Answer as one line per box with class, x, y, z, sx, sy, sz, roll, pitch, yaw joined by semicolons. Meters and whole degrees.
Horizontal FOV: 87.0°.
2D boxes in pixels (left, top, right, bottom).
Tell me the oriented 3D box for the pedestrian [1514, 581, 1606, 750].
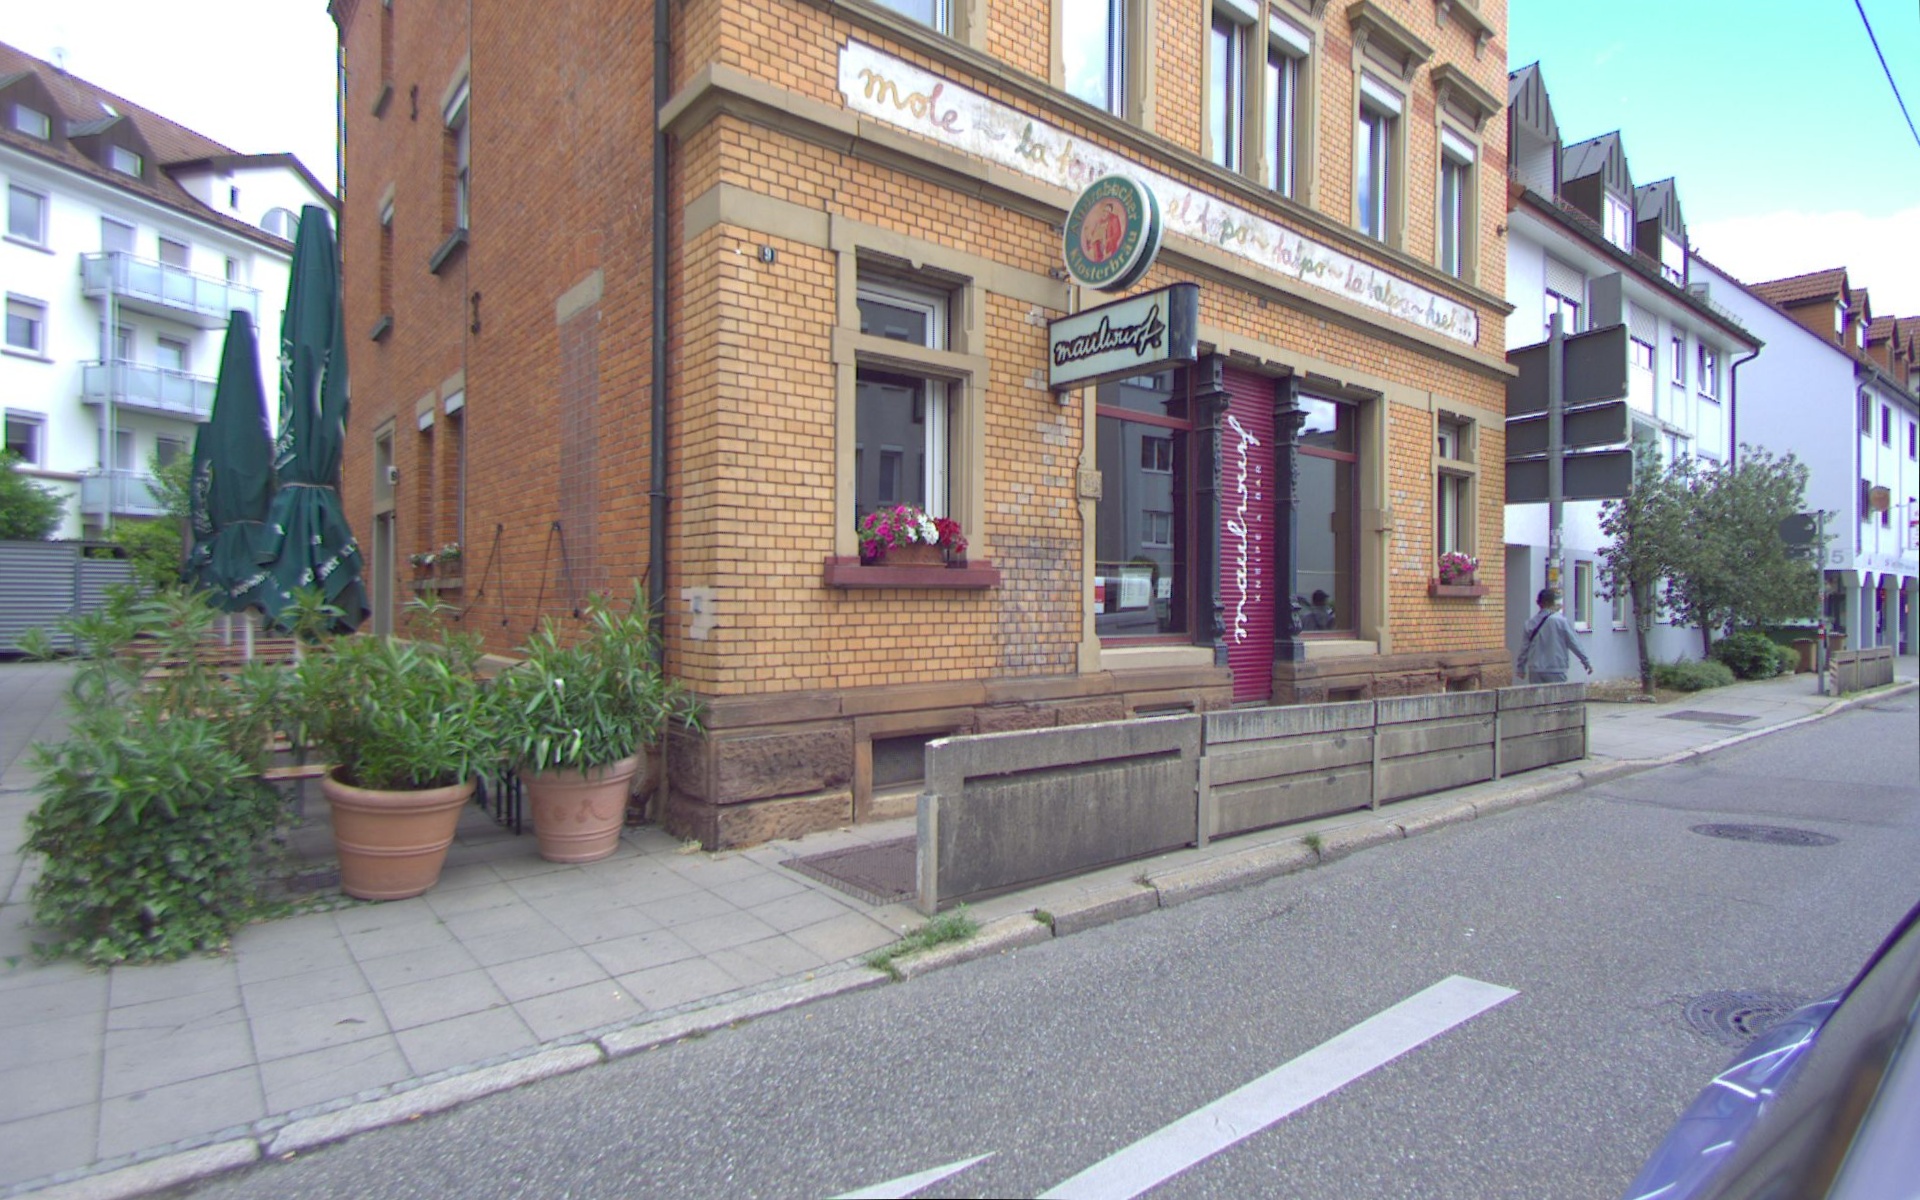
pedestrian;6.505;0.675;10.975;0.638;1.753;0.689;1;0;-41
